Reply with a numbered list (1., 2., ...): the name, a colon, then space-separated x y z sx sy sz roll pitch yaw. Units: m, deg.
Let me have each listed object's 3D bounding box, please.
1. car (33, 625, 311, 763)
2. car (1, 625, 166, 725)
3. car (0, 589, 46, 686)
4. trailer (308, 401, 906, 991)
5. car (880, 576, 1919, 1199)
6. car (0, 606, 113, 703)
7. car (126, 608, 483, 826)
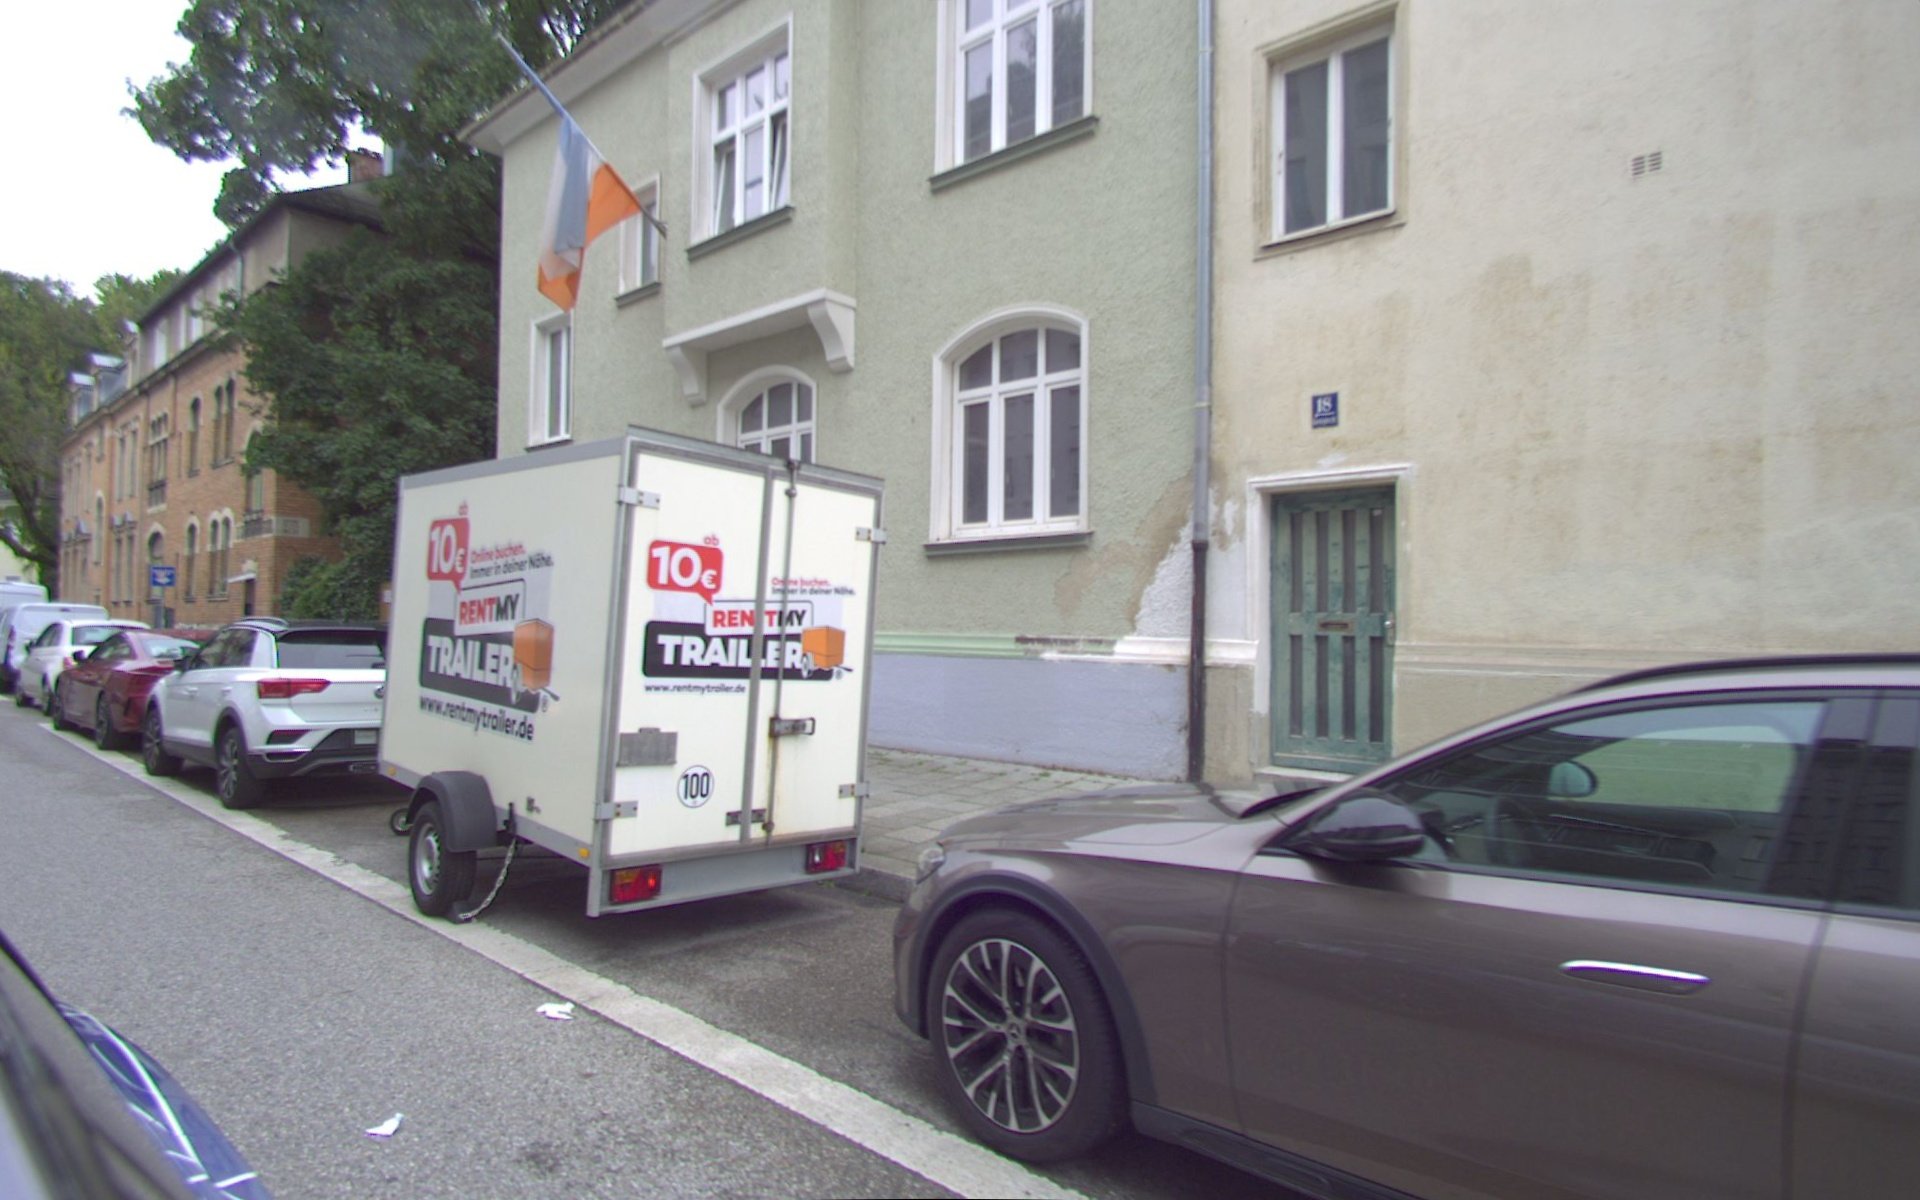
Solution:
1. car: -10.228 1.105 13.021 4.329 1.423 1.842 0 -3 39
2. car: -14.414 1.169 16.603 3.310 1.478 1.458 -1 -4 39
3. car: -27.005 1.004 27.923 5.220 2.497 1.961 -1 -4 41
4. trailer: -2.484 0.478 6.407 4.387 2.480 1.690 -2 -4 44
5. car: 2.011 0.789 2.285 4.541 1.550 1.747 -1 -4 43
6. car: -19.122 1.094 20.945 4.141 1.817 1.673 -1 -4 40
7. car: -6.232 0.951 9.467 3.918 1.615 1.669 -1 -4 40
